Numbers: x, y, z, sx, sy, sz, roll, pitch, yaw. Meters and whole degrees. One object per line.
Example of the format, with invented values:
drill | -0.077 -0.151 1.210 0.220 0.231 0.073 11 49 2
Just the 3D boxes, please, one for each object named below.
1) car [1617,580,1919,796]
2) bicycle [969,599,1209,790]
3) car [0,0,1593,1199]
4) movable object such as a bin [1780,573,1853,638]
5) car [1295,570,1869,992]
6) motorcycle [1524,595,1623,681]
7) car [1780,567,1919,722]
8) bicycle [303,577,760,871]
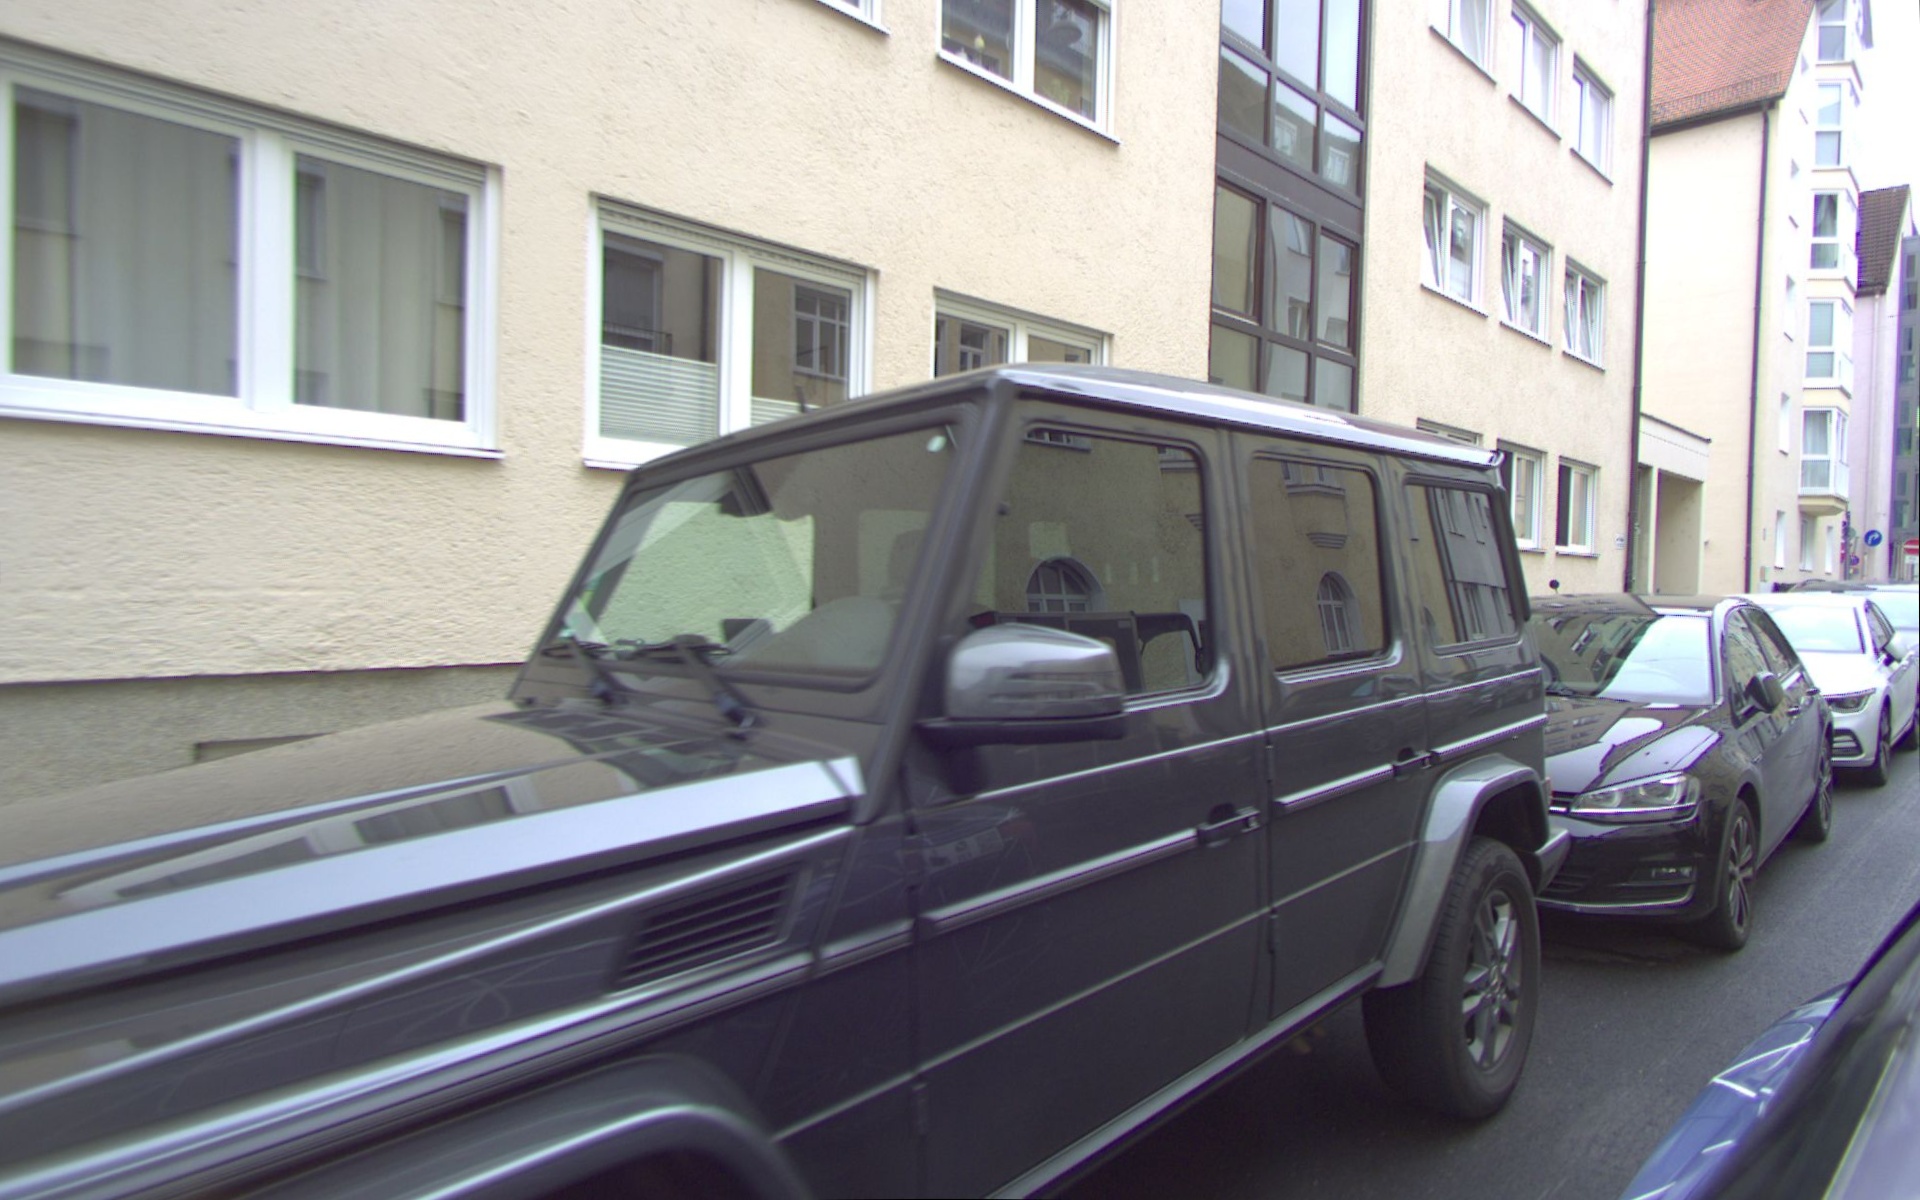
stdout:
car | 7.515 0.575 9.146 4.173 1.504 1.713 -1 1 -43
bicycle | 0.947 0.595 7.152 1.730 1.119 0.656 -1 6 -42
car | -0.041 0.436 2.563 4.270 2.001 1.752 0 -1 -43
movable object such as a bin | 20.358 0.098 24.062 1.559 1.440 1.034 -1 4 -41
car | 3.707 0.600 5.666 4.173 1.504 1.713 -1 1 -43
motorcycle | 7.858 0.454 12.921 1.878 0.979 0.483 -1 6 -42
car | 11.296 0.432 12.315 1.711 1.628 4.177 1 1 44
bicycle | -1.856 0.443 4.550 1.766 1.041 0.645 -1 6 -42
